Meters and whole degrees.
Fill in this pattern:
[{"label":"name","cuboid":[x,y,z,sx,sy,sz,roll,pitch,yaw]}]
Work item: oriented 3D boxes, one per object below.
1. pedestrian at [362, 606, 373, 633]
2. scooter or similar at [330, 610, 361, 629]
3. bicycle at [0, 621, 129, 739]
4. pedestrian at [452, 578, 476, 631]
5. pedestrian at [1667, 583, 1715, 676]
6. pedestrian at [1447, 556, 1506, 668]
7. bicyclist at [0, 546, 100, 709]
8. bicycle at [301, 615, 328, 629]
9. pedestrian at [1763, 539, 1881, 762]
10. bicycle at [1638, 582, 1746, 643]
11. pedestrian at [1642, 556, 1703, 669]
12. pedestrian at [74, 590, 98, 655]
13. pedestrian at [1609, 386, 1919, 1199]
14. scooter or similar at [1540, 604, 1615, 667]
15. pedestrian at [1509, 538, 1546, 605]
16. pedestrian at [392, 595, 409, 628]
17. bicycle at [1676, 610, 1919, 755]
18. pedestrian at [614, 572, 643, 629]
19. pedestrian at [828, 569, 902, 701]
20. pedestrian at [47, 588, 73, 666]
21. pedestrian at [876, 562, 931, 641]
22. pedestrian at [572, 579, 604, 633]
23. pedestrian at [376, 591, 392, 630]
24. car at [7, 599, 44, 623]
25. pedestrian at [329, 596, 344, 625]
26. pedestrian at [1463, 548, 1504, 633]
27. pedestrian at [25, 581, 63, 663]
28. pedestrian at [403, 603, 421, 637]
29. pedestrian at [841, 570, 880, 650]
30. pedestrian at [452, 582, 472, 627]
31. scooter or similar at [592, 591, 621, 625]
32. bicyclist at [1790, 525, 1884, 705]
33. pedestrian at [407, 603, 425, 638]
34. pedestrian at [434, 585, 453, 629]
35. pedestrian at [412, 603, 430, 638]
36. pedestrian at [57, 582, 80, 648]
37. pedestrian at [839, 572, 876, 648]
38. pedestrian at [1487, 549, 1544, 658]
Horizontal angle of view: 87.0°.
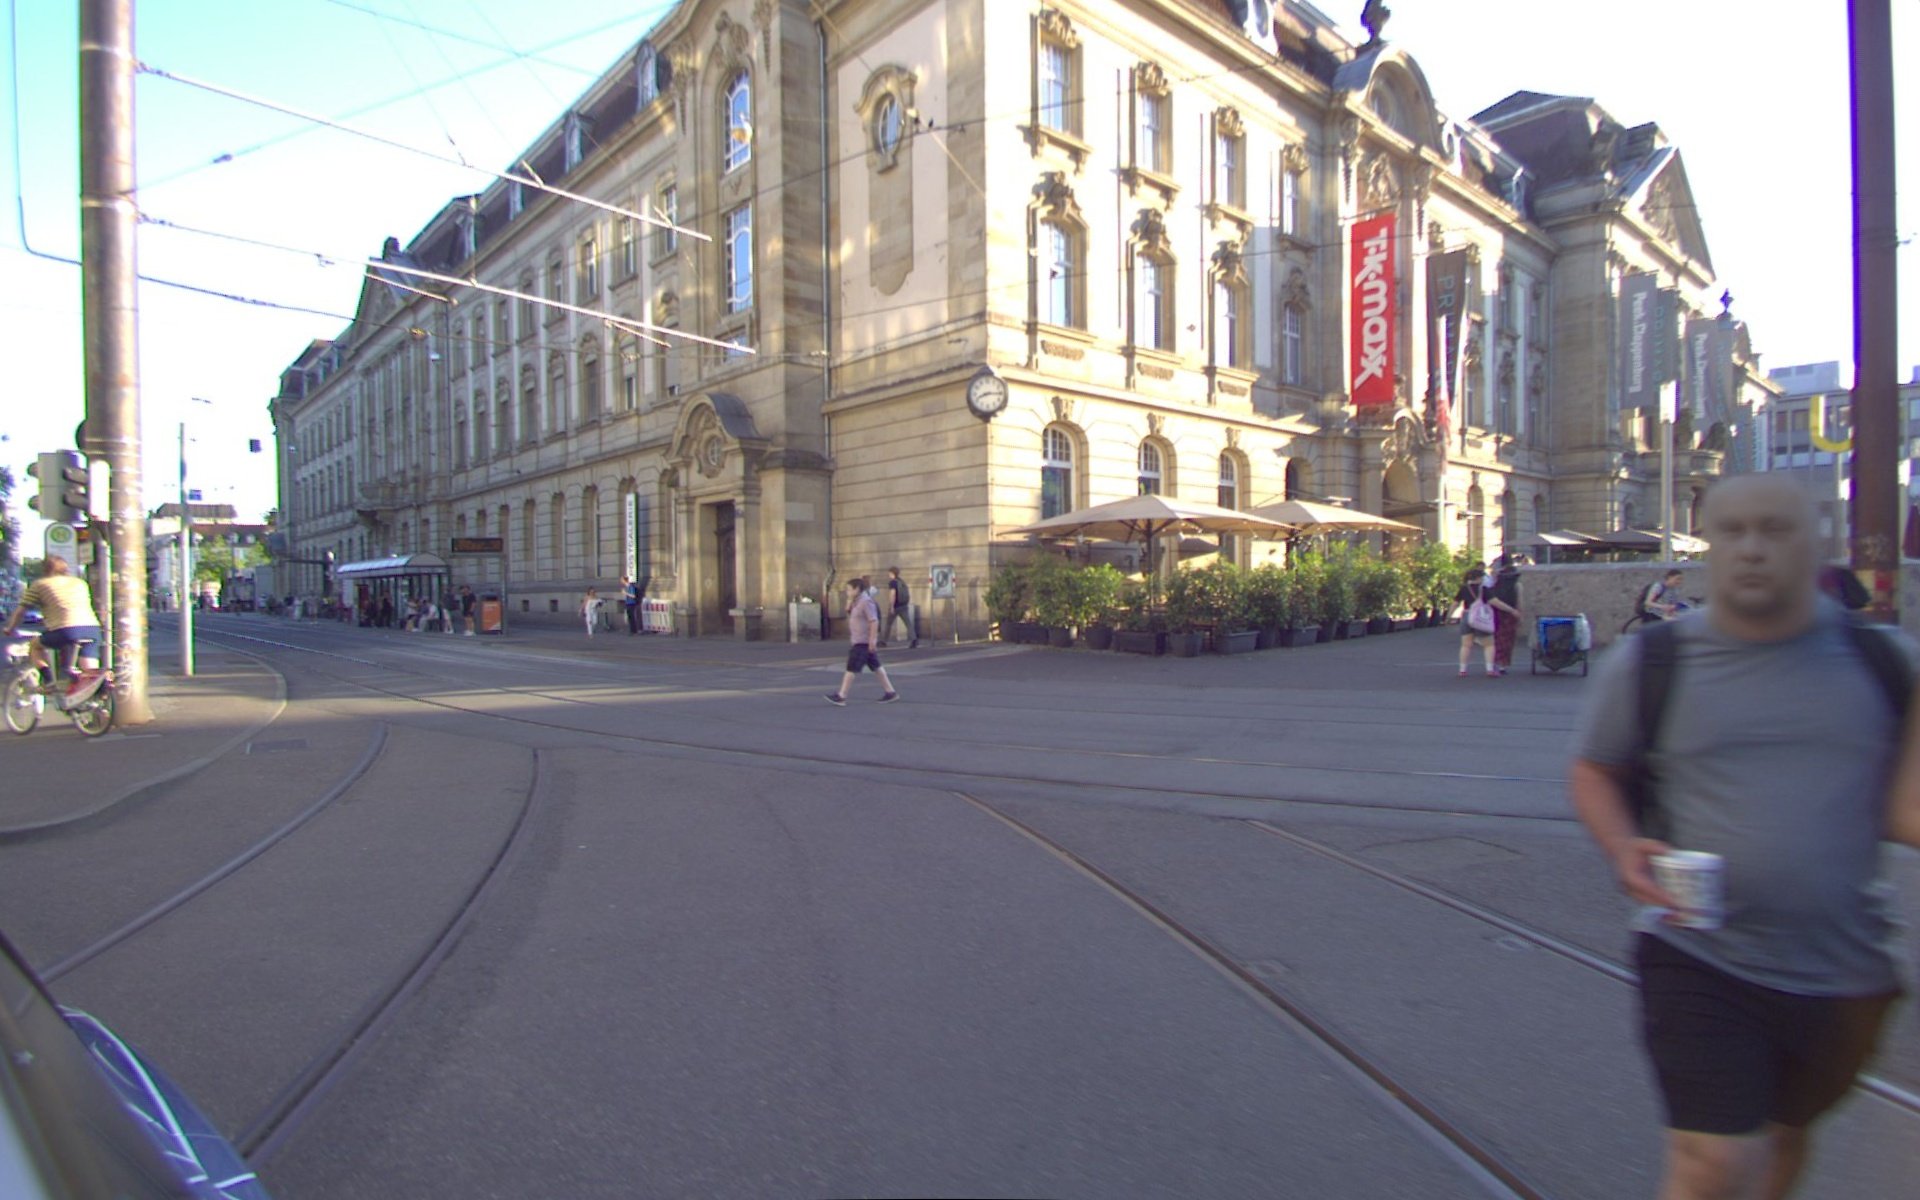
[{"label":"pedestrian","cuboid":[-27.125,0.888,46.351,0.360,1.209,0.430,-2,1,-36]},{"label":"scooter or similar","cuboid":[-37.360,1.202,61.509,1.527,1.076,0.452,-2,1,-37]},{"label":"bicycle","cuboid":[-9.397,0.790,10.345,1.612,1.112,0.626,0,0,18]},{"label":"pedestrian","cuboid":[-16.806,0.143,34.301,0.464,1.789,0.559,-1,0,13]},{"label":"pedestrian","cuboid":[10.123,0.403,14.019,0.485,1.252,0.406,-1,0,43]},{"label":"pedestrian","cuboid":[7.709,0.175,15.131,0.689,1.626,0.817,-1,0,23]},{"label":"bicyclist","cuboid":[-9.416,0.271,10.363,0.785,1.605,0.606,-1,0,19]},{"label":"bicycle","cuboid":[-45.920,1.576,71.998,1.555,0.880,0.452,-2,1,-37]},{"label":"pedestrian","cuboid":[6.841,0.378,8.036,0.640,1.687,0.531,-1,0,-34]},{"label":"bicycle","cuboid":[13.744,0.222,19.040,0.444,1.093,1.583,-2,1,-39]},{"label":"pedestrian","cuboid":[10.254,0.177,14.567,0.650,1.585,0.474,-1,0,40]},{"label":"pedestrian","cuboid":[-22.456,0.566,25.999,0.381,1.654,0.550,-2,1,-44]},{"label":"pedestrian","cuboid":[1.481,0.570,1.645,0.607,1.713,0.740,-1,0,26]},{"label":"scooter or similar","cuboid":[9.466,0.524,15.506,0.888,0.911,1.083,-1,0,36]},{"label":"pedestrian","cuboid":[14.758,-0.731,26.315,0.720,1.718,0.492,0,2,42]},{"label":"pedestrian","cuboid":[-23.256,0.480,42.078,0.511,1.337,0.639,-1,1,-38]},{"label":"bicycle","cuboid":[7.227,0.644,8.423,2.021,1.106,0.567,-1,1,41]},{"label":"pedestrian","cuboid":[-10.662,0.015,32.565,0.706,1.789,0.613,-1,0,45]},{"label":"pedestrian","cuboid":[-1.220,0.441,13.178,0.824,1.641,0.803,-1,0,3]},{"label":"pedestrian","cuboid":[-19.425,0.565,21.846,0.352,1.654,0.503,-2,1,-44]},{"label":"pedestrian","cuboid":[-1.212,0.028,21.541,0.680,1.641,0.973,-1,0,-43]},{"label":"pedestrian","cuboid":[-11.433,0.189,31.121,0.691,1.626,0.631,-2,1,-43]},{"label":"pedestrian","cuboid":[-24.926,0.455,43.801,0.510,1.663,0.640,-1,1,-20]},{"label":"car","cuboid":[-65.000,0.785,70.446,1.784,1.494,4.288,-4,2,-42]},{"label":"pedestrian","cuboid":[-35.195,0.591,57.128,0.434,1.617,0.572,-2,1,-1]},{"label":"pedestrian","cuboid":[10.747,-0.200,20.775,0.718,1.718,0.493,-1,2,31]},{"label":"pedestrian","cuboid":[-20.485,0.477,22.638,0.532,1.780,0.596,-2,1,-37]},{"label":"pedestrian","cuboid":[-21.794,0.795,40.258,0.511,1.337,0.639,-1,1,-38]},{"label":"pedestrian","cuboid":[-1.938,0.197,19.735,0.502,1.537,0.520,-1,0,38]},{"label":"pedestrian","cuboid":[-18.504,0.153,37.592,0.511,1.658,0.639,-1,1,-38]},{"label":"scooter or similar","cuboid":[-12.445,0.279,35.612,0.480,1.190,1.295,-2,1,-40]},{"label":"bicyclist","cuboid":[7.276,0.117,8.410,0.563,1.438,0.416,-1,1,41]},{"label":"pedestrian","cuboid":[-21.276,0.795,39.562,0.511,1.337,0.639,-1,1,-38]},{"label":"pedestrian","cuboid":[-18.885,0.250,36.996,0.511,1.581,0.639,-1,1,-38]},{"label":"pedestrian","cuboid":[-20.757,0.792,38.983,0.511,1.337,0.639,-1,1,-38]},{"label":"pedestrian","cuboid":[-24.533,0.417,27.850,0.407,1.780,0.595,-2,1,-44]},{"label":"pedestrian","cuboid":[-2.081,0.199,20.575,0.501,1.537,0.512,-1,0,43]},{"label":"pedestrian","cuboid":[8.575,0.055,15.654,0.663,1.626,0.766,-1,0,23]}]
